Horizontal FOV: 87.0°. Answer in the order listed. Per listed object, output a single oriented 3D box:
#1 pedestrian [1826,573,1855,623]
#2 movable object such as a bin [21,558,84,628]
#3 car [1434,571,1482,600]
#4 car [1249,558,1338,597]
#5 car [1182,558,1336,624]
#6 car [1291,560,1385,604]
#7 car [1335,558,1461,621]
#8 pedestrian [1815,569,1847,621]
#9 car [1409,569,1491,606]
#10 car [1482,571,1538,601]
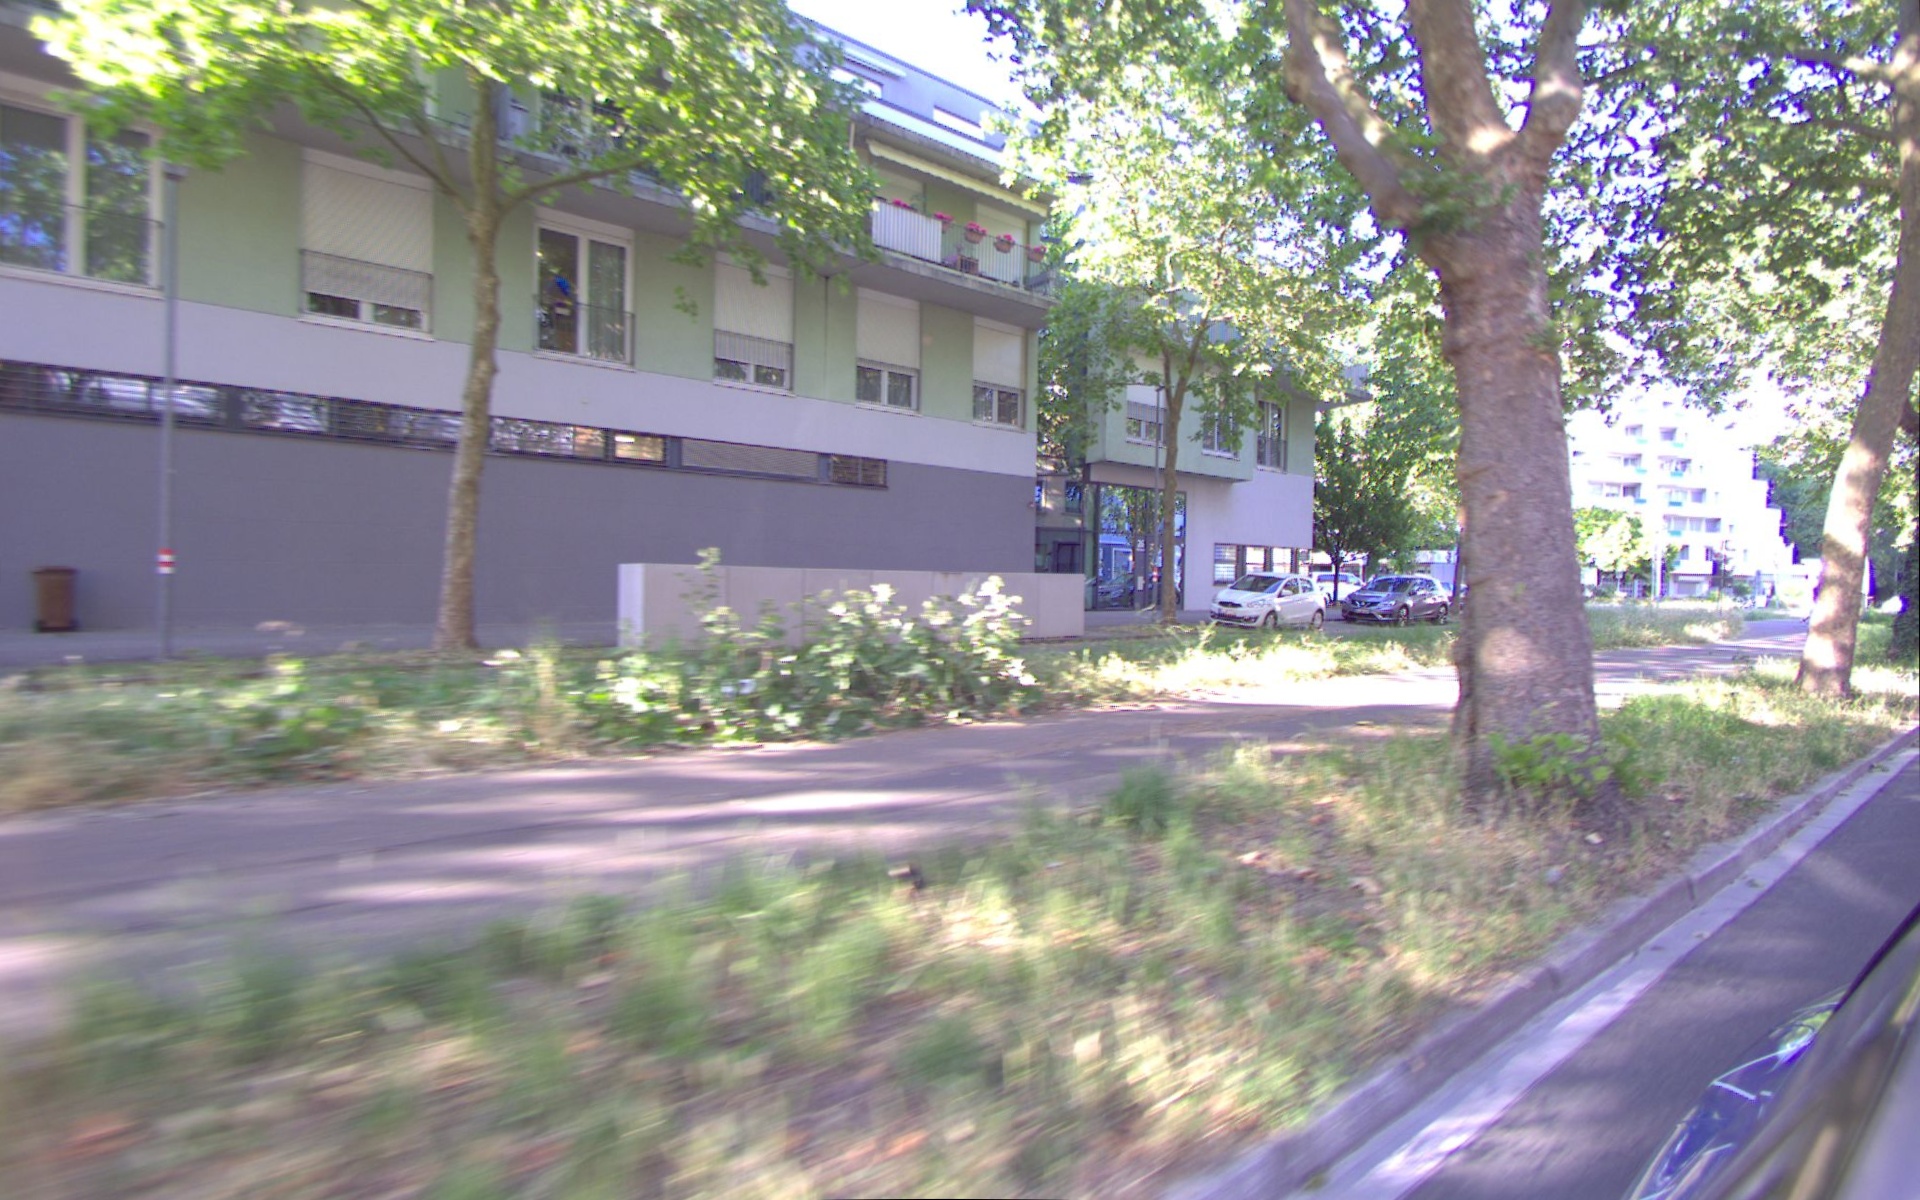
[{"bbox_3d":[34.832,-0.091,40.055,0.782,1.903,0.792,2,2,40],"label":"pedestrian"},{"bbox_3d":[-12.929,-0.102,14.431,0.651,0.954,0.630,0,2,-40],"label":"movable object such as a bin"},{"bbox_3d":[32.400,-0.924,65.972,1.802,1.607,4.349,4,0,14],"label":"car"},{"bbox_3d":[14.848,-1.015,45.124,3.483,1.473,1.679,4,0,-24],"label":"car"},{"bbox_3d":[7.872,-0.258,26.463,4.244,1.562,1.863,0,2,-41],"label":"car"},{"bbox_3d":[21.553,-1.005,57.678,4.946,2.123,2.005,4,0,-24],"label":"car"},{"bbox_3d":[13.539,-0.348,31.182,4.244,1.793,1.908,0,2,-41],"label":"car"},{"bbox_3d":[33.781,-0.207,39.266,0.834,1.956,0.771,2,2,39],"label":"pedestrian"},{"bbox_3d":[24.590,-0.620,50.764,3.906,1.542,1.678,4,0,-30],"label":"car"},{"bbox_3d":[34.742,-0.835,64.047,1.910,1.680,4.457,4,0,14],"label":"car"}]
